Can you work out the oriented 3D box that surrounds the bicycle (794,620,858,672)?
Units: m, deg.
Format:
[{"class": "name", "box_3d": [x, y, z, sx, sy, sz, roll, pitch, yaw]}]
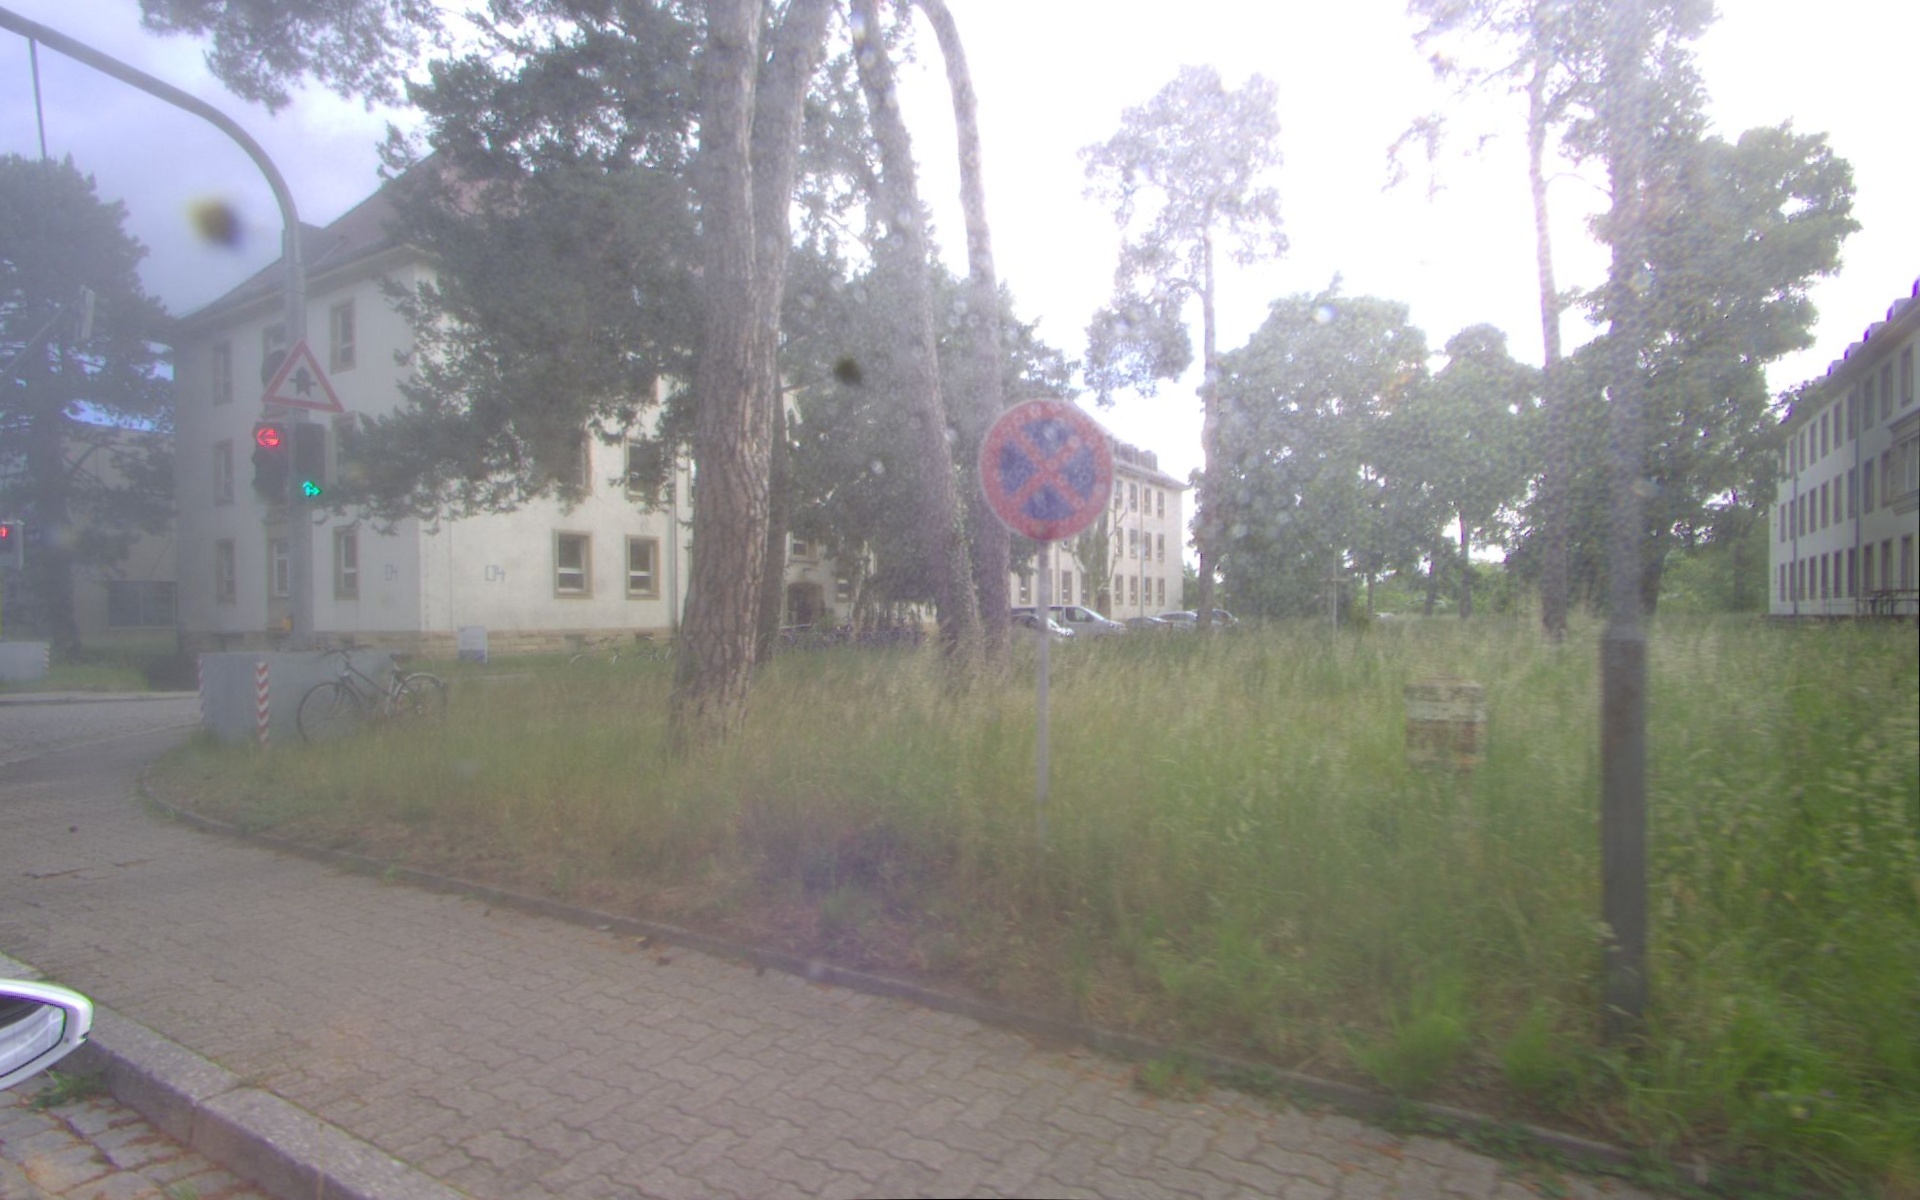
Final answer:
[{"class": "bicycle", "box_3d": [-3.569, 1.209, 26.627, 1.895, 1.337, 0.504, -1, 0, 38]}]

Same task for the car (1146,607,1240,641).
[{"class": "car", "box_3d": [12.638, 1.310, 54.420, 4.629, 1.796, 1.989, -1, -1, 33]}]

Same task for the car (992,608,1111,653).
[{"class": "car", "box_3d": [3.288, 1.085, 36.192, 3.877, 1.550, 1.852, -1, -1, 34]}]

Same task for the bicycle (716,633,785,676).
[{"class": "bicycle", "box_3d": [-5.058, 1.296, 24.149, 1.878, 0.961, 0.539, -1, -1, 37]}]

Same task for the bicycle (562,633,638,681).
[{"class": "bicycle", "box_3d": [-7.902, 1.239, 22.048, 0.522, 0.993, 1.618, 0, -1, 31]}]

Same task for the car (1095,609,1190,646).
[{"class": "car", "box_3d": [8.491, 1.257, 46.613, 3.944, 1.639, 1.989, -1, -1, 33]}]

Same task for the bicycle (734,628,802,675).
[{"class": "bicycle", "box_3d": [-4.759, 1.246, 24.731, 1.878, 1.116, 0.539, -1, 0, 38]}]

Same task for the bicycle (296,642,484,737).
[{"class": "bicycle", "box_3d": [-6.073, 0.924, 10.758, 0.564, 0.885, 1.696, 0, -1, 32]}]

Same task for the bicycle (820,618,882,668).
[{"class": "bicycle", "box_3d": [-3.006, 1.158, 27.430, 1.829, 1.337, 0.553, -1, 0, 38]}]

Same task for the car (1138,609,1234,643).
[{"class": "car", "box_3d": [11.566, 1.329, 51.323, 4.453, 1.639, 1.989, -1, -1, 33]}]

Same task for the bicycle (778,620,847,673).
[{"class": "bicycle", "box_3d": [-3.860, 1.190, 26.115, 1.950, 1.337, 0.574, -1, 0, 38]}]

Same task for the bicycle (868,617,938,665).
[{"class": "bicycle", "box_3d": [-1.698, 1.185, 29.500, 2.075, 1.385, 0.754, 0, 0, 37]}]

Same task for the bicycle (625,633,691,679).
[{"class": "bicycle", "box_3d": [-7.096, 1.302, 23.613, 0.535, 1.027, 1.534, 0, -1, 31]}]

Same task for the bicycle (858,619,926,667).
[{"class": "bicycle", "box_3d": [-1.971, 1.208, 28.833, 2.105, 1.337, 0.553, -1, 0, 38]}]

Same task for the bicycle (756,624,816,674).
[{"class": "bicycle", "box_3d": [-4.395, 1.218, 25.185, 1.618, 1.231, 0.539, -1, 0, 38]}]

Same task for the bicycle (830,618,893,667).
[{"class": "bicycle", "box_3d": [-2.771, 1.175, 28.002, 1.914, 1.337, 0.551, -1, 0, 38]}]

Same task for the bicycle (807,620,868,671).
[{"class": "bicycle", "box_3d": [-3.309, 1.220, 26.995, 1.894, 1.337, 0.390, -1, 0, 38]}]

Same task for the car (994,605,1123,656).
[{"class": "car", "box_3d": [3.933, 1.174, 39.747, 4.774, 1.935, 2.237, 0, 0, 17]}]

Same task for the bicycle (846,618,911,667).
[{"class": "bicycle", "box_3d": [-2.325, 1.192, 28.386, 1.990, 1.337, 0.538, -1, 0, 38]}]

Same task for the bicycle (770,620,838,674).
[{"class": "bicycle", "box_3d": [-3.997, 1.170, 25.530, 2.021, 1.337, 0.436, -1, 0, 38]}]
